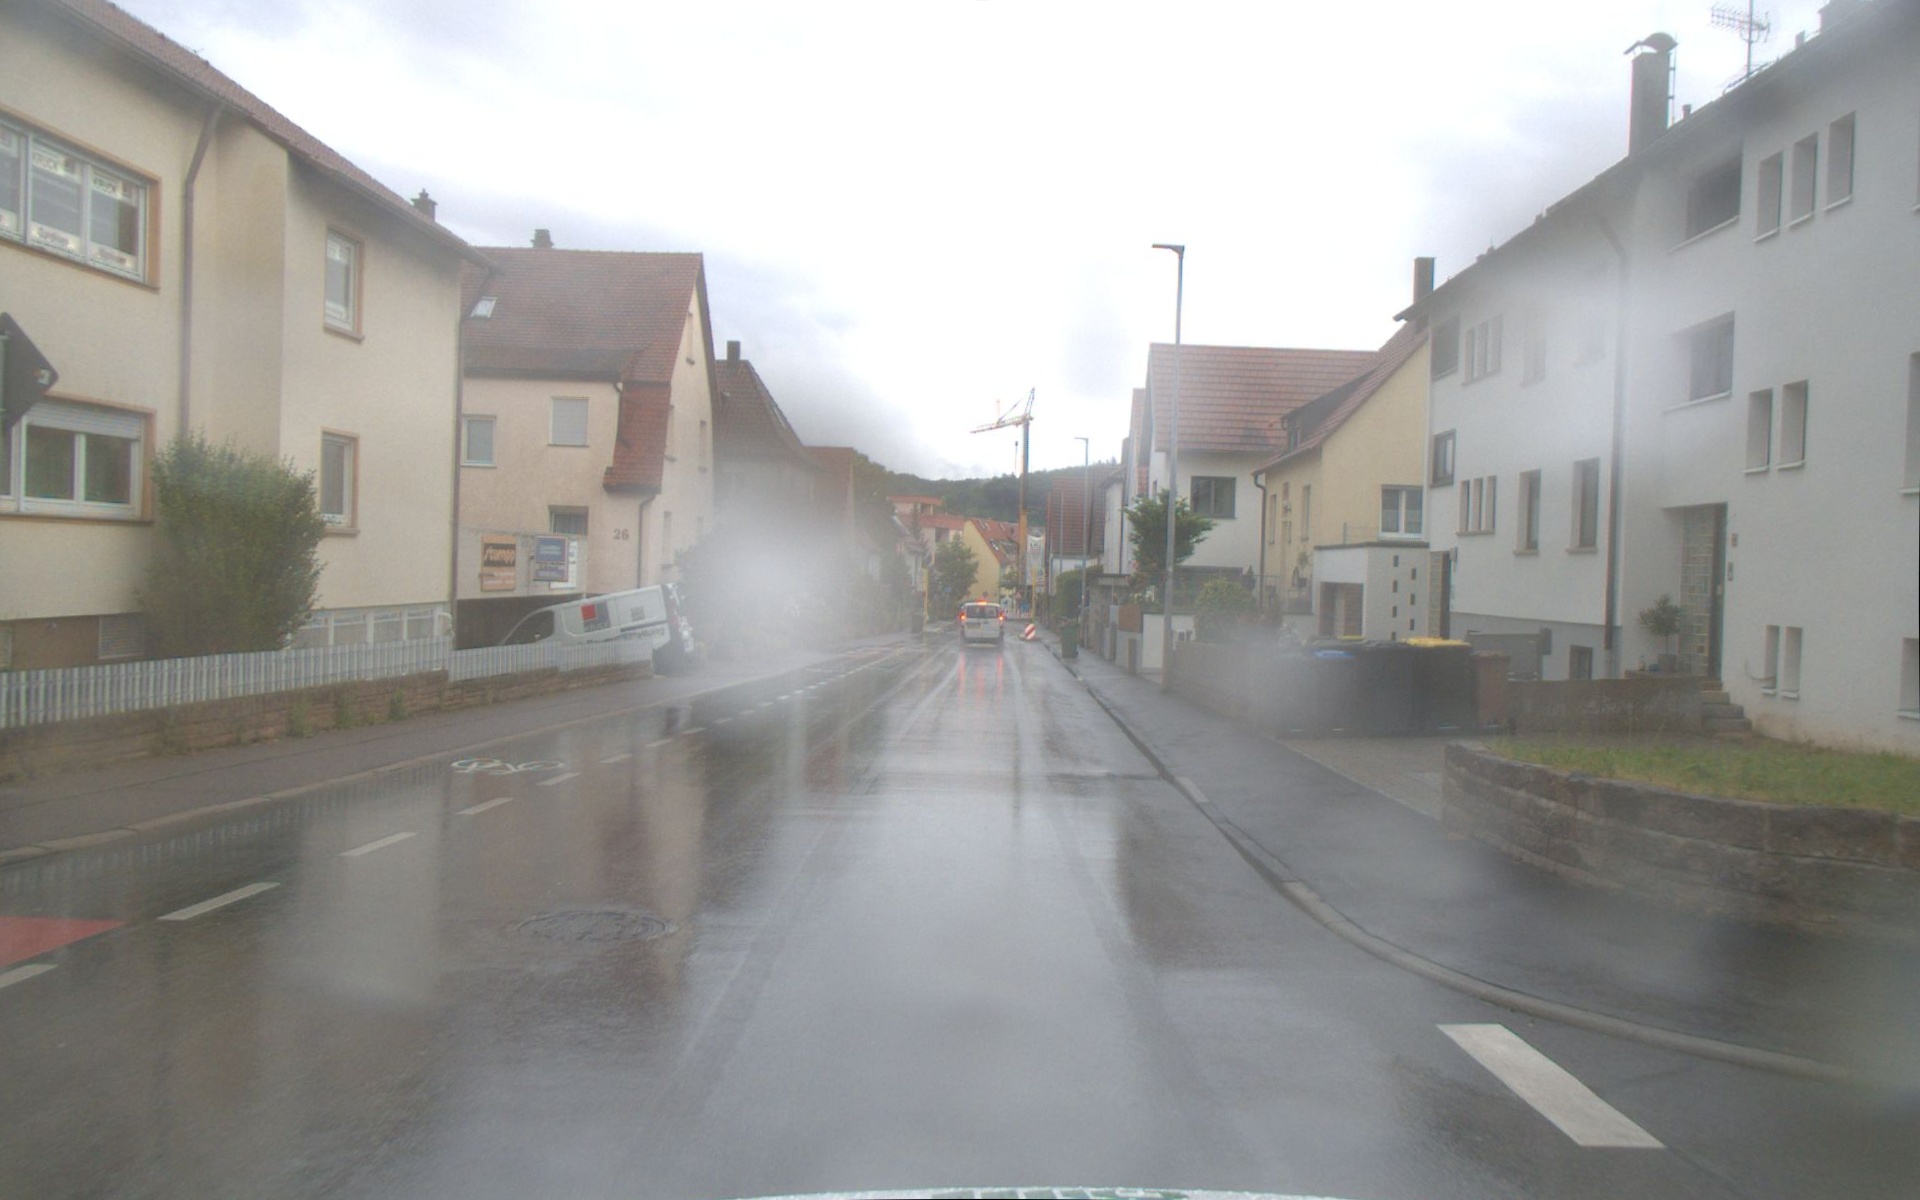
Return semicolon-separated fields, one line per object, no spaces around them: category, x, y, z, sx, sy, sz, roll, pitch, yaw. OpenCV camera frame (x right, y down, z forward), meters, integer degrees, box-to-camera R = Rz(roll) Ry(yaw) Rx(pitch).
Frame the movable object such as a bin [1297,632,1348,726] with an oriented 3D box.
movable object such as a bin;4.290;0.925;19.598;0.416;1.045;0.632;3;2;-1

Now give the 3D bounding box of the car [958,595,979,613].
car;0.934;0.418;179.114;1.803;1.605;4.293;3;2;6

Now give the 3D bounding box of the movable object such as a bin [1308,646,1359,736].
movable object such as a bin;4.270;1.037;18.925;0.416;0.956;0.508;3;2;-1

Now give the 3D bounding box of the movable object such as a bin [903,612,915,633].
movable object such as a bin;-3.240;1.440;104.249;0.669;1.244;0.639;3;2;-4

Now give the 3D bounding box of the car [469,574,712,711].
car;-7.905;0.875;35.740;4.466;2.045;2.160;-10;2;1

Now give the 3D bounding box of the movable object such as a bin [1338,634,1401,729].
movable object such as a bin;4.848;0.959;19.621;0.533;1.045;0.632;3;2;-1

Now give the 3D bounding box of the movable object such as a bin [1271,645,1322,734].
movable object such as a bin;3.851;1.018;18.946;0.416;0.956;0.508;3;2;-1

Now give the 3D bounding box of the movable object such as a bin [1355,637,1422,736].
movable object such as a bin;4.899;0.984;18.933;0.533;1.045;0.632;3;2;-1

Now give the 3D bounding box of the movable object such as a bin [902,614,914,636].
movable object such as a bin;-3.244;1.564;103.466;0.669;1.345;0.639;3;2;-4

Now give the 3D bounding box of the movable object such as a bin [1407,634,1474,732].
movable object such as a bin;5.497;0.940;18.950;0.517;1.045;0.632;3;2;-1

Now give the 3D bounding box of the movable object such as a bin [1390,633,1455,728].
movable object such as a bin;5.486;0.942;19.629;0.533;1.045;0.632;3;2;-1

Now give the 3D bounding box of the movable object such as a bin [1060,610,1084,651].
movable object such as a bin;3.700;1.008;54.620;0.730;1.301;0.882;1;2;2

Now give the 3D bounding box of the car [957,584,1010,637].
car;1.025;0.414;70.001;2.073;1.920;4.504;3;2;2
